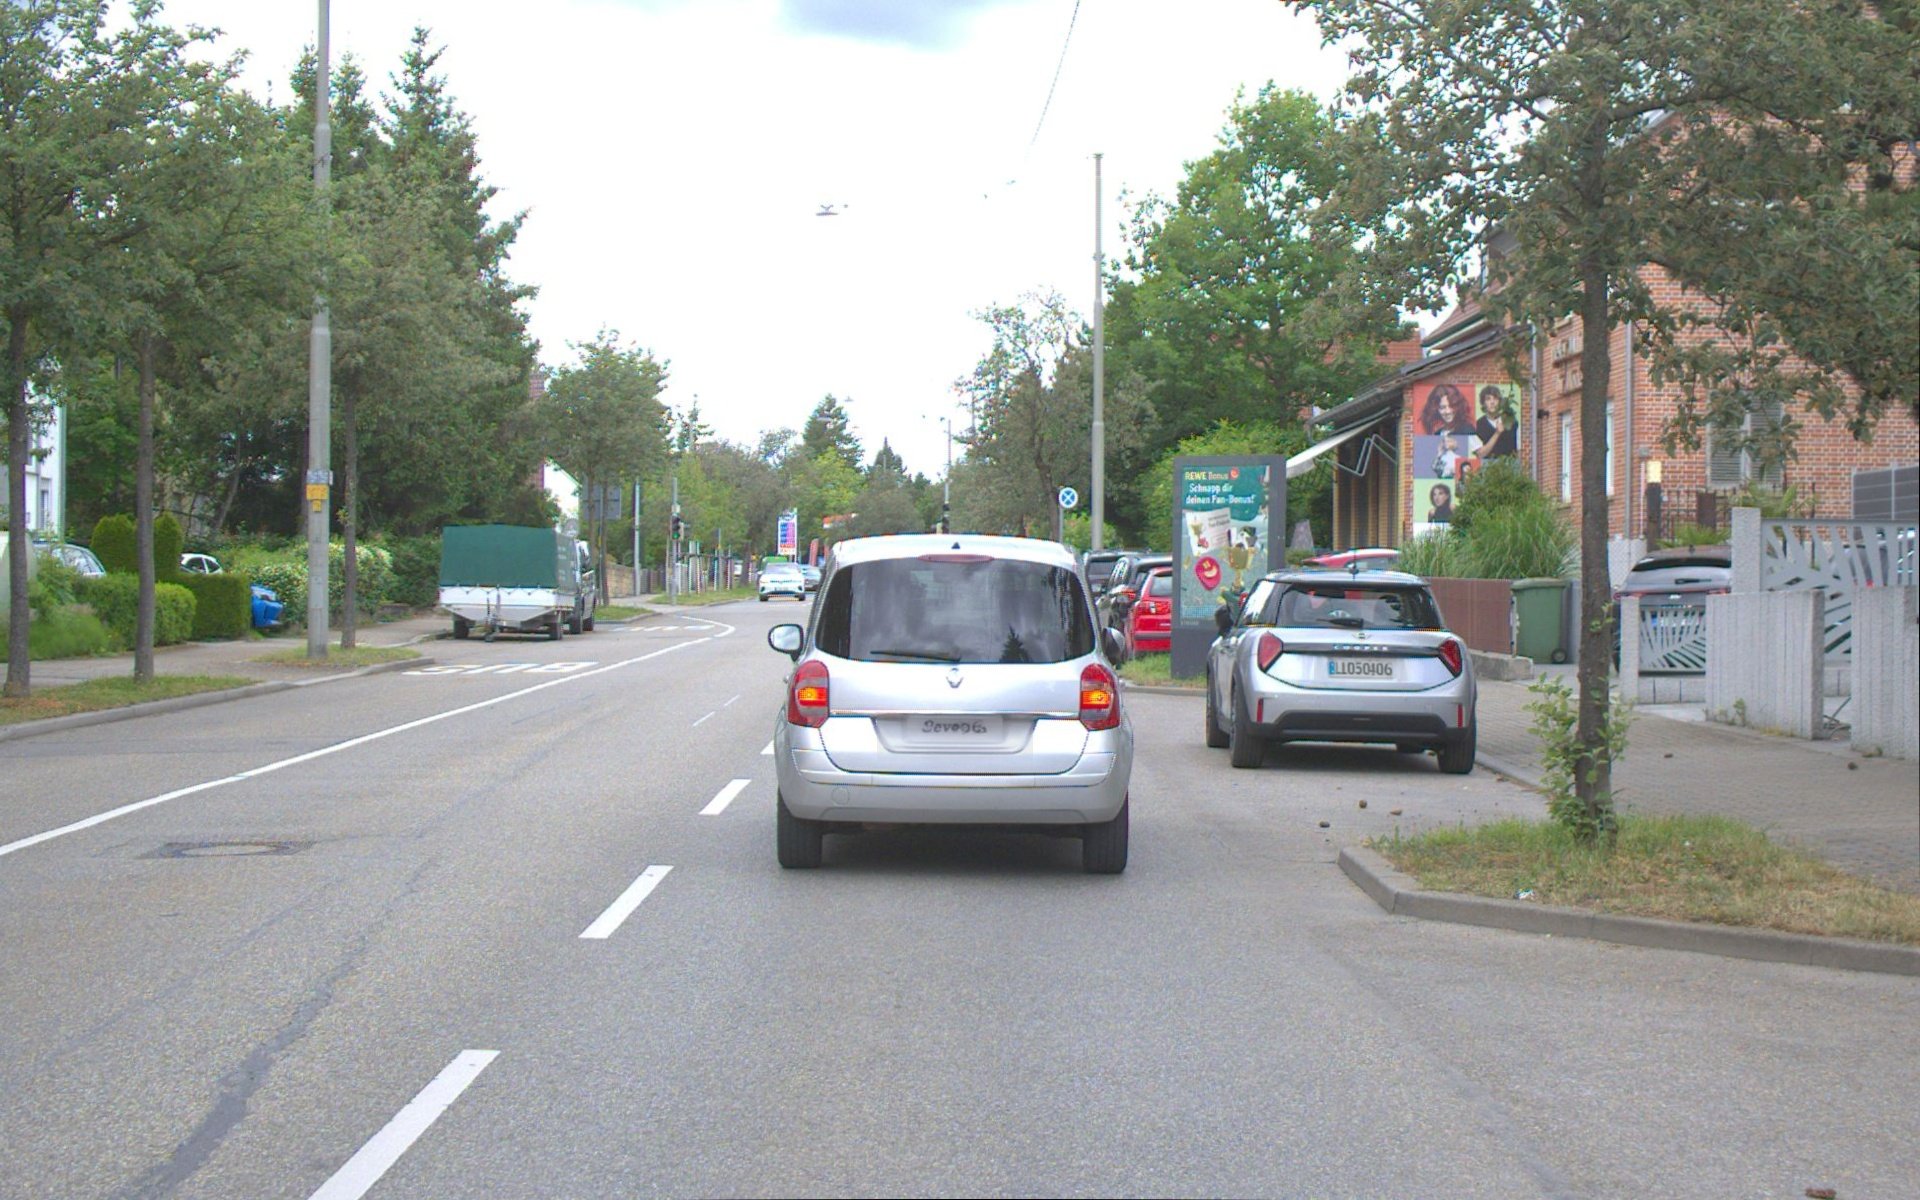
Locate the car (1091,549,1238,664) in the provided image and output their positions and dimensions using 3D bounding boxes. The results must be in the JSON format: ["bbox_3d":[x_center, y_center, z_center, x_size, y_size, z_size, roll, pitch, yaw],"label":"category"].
[{"bbox_3d":[2.877,0.053,49.057,1.662,1.559,4.099,0,1,-3],"label":"car"}]

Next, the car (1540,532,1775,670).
[{"bbox_3d":[8.218,-0.021,40.213,1.820,1.376,4.475,-3,1,22],"label":"car"}]

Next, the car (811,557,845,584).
[{"bbox_3d":[-7.227,-1.614,187.377,1.721,1.406,4.000,1,0,-4],"label":"car"}]

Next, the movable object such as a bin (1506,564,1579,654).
[{"bbox_3d":[7.256,0.108,42.829,0.776,1.100,0.691,-1,1,-1],"label":"movable object such as a bin"}]

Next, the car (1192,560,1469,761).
[{"bbox_3d":[2.709,0.424,25.870,1.650,1.378,4.000,0,0,0],"label":"car"}]

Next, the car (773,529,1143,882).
[{"bbox_3d":[0.016,0.479,17.428,1.630,1.551,4.000,1,0,1],"label":"car"}]

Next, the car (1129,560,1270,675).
[{"bbox_3d":[3.077,0.196,44.651,1.662,1.388,3.667,-1,1,2],"label":"car"}]

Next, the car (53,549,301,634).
[{"bbox_3d":[-13.178,-0.134,58.066,3.986,1.333,1.578,1,-1,-10],"label":"car"}]

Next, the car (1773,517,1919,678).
[{"bbox_3d":[10.539,-0.144,34.380,4.259,1.501,1.695,-4,0,-7],"label":"car"}]

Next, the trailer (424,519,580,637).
[{"bbox_3d":[-8.576,-0.397,64.925,2.312,2.079,5.873,1,0,-2],"label":"trailer"}]

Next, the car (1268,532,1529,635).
[{"bbox_3d":[7.443,-0.287,58.518,3.986,1.491,1.810,-3,1,-8],"label":"car"}]

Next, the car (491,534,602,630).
[{"bbox_3d":[-8.636,-0.366,72.134,1.887,1.915,4.562,1,0,-2],"label":"car"}]

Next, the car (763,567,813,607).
[{"bbox_3d":[-7.130,-0.523,142.216,1.905,1.612,4.001,0,0,-5],"label":"car"}]

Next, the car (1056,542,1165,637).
[{"bbox_3d":[2.855,-0.187,65.892,1.812,1.737,4.000,-1,0,-1],"label":"car"}]

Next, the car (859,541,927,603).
[{"bbox_3d":[-1.839,-0.780,94.929,1.829,1.670,3.574,0,1,0],"label":"car"}]
